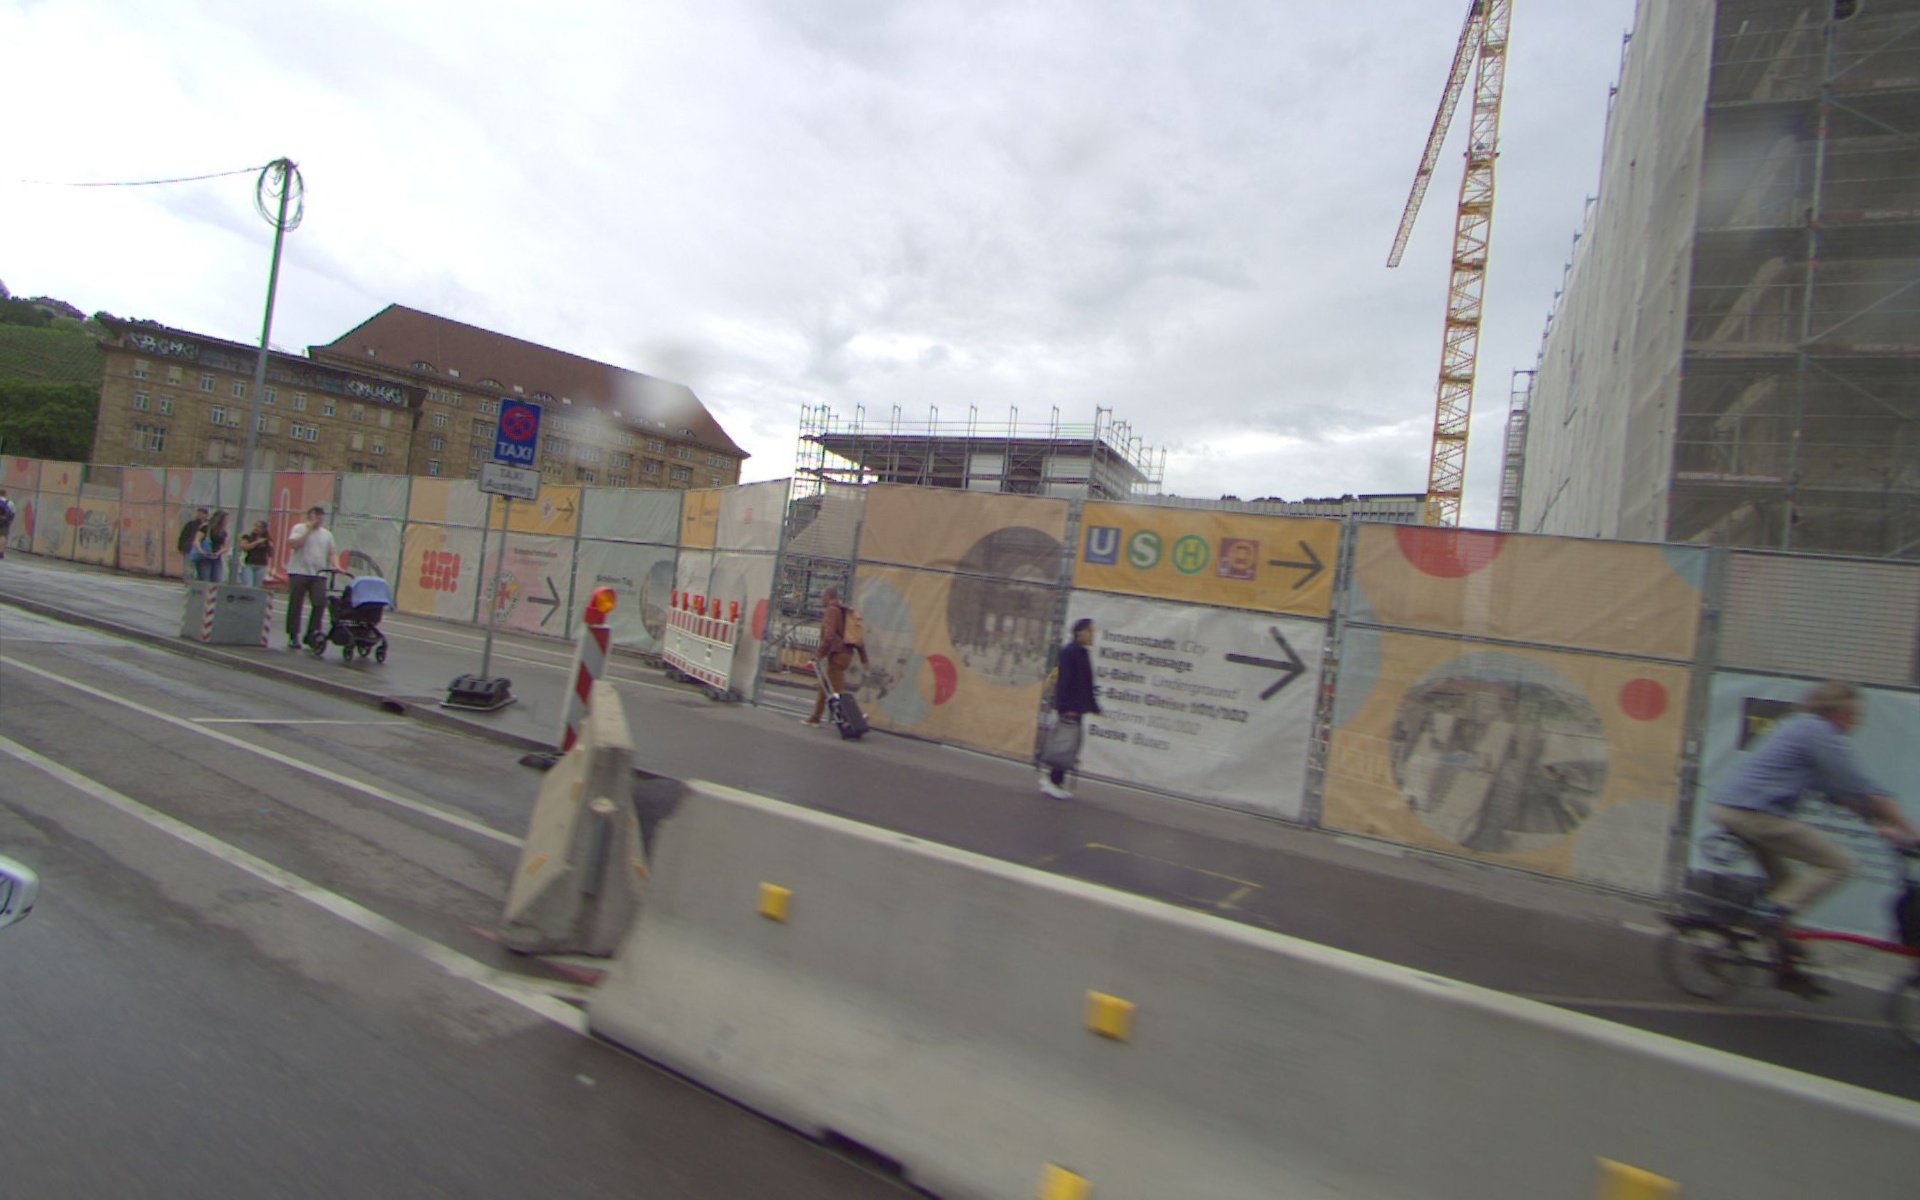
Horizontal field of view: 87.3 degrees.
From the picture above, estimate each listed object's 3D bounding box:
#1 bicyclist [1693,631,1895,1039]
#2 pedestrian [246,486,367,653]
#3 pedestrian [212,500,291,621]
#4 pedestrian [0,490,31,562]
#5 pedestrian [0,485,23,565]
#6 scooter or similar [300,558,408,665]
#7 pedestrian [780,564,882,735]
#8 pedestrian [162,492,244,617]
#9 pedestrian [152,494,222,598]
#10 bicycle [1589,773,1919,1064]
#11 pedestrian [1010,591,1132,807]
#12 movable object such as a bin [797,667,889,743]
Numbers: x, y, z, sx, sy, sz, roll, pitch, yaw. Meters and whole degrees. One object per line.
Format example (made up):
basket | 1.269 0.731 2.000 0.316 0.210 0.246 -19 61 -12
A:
bicyclist | 4.614 1.245 5.621 0.589 2.037 0.728 7 -1 32
pedestrian | -8.601 -0.400 13.254 0.956 2.040 0.804 7 -1 33
pedestrian | -11.968 -0.667 17.001 0.682 1.911 0.684 7 -1 33
pedestrian | -26.638 -2.087 28.013 0.974 1.888 0.705 7 -1 32
pedestrian | -21.930 -1.742 22.794 0.823 1.761 0.644 7 -1 30
scooter or similar | -7.721 0.144 12.816 1.027 1.212 0.666 7 -1 32
pedestrian | -1.523 0.595 11.936 0.643 1.917 0.768 7 -1 32
pedestrian | -12.301 -0.730 16.348 0.682 1.911 0.684 7 -1 33
pedestrian | -15.192 -1.060 19.772 0.681 1.911 0.685 7 -1 29
bicycle | 4.709 1.741 5.564 1.948 1.125 0.767 9 0 32
pedestrian | 1.075 0.936 9.638 0.651 1.917 0.850 7 -1 32
movable object such as a bin | -1.343 1.198 11.537 0.764 0.743 0.598 7 -1 29
